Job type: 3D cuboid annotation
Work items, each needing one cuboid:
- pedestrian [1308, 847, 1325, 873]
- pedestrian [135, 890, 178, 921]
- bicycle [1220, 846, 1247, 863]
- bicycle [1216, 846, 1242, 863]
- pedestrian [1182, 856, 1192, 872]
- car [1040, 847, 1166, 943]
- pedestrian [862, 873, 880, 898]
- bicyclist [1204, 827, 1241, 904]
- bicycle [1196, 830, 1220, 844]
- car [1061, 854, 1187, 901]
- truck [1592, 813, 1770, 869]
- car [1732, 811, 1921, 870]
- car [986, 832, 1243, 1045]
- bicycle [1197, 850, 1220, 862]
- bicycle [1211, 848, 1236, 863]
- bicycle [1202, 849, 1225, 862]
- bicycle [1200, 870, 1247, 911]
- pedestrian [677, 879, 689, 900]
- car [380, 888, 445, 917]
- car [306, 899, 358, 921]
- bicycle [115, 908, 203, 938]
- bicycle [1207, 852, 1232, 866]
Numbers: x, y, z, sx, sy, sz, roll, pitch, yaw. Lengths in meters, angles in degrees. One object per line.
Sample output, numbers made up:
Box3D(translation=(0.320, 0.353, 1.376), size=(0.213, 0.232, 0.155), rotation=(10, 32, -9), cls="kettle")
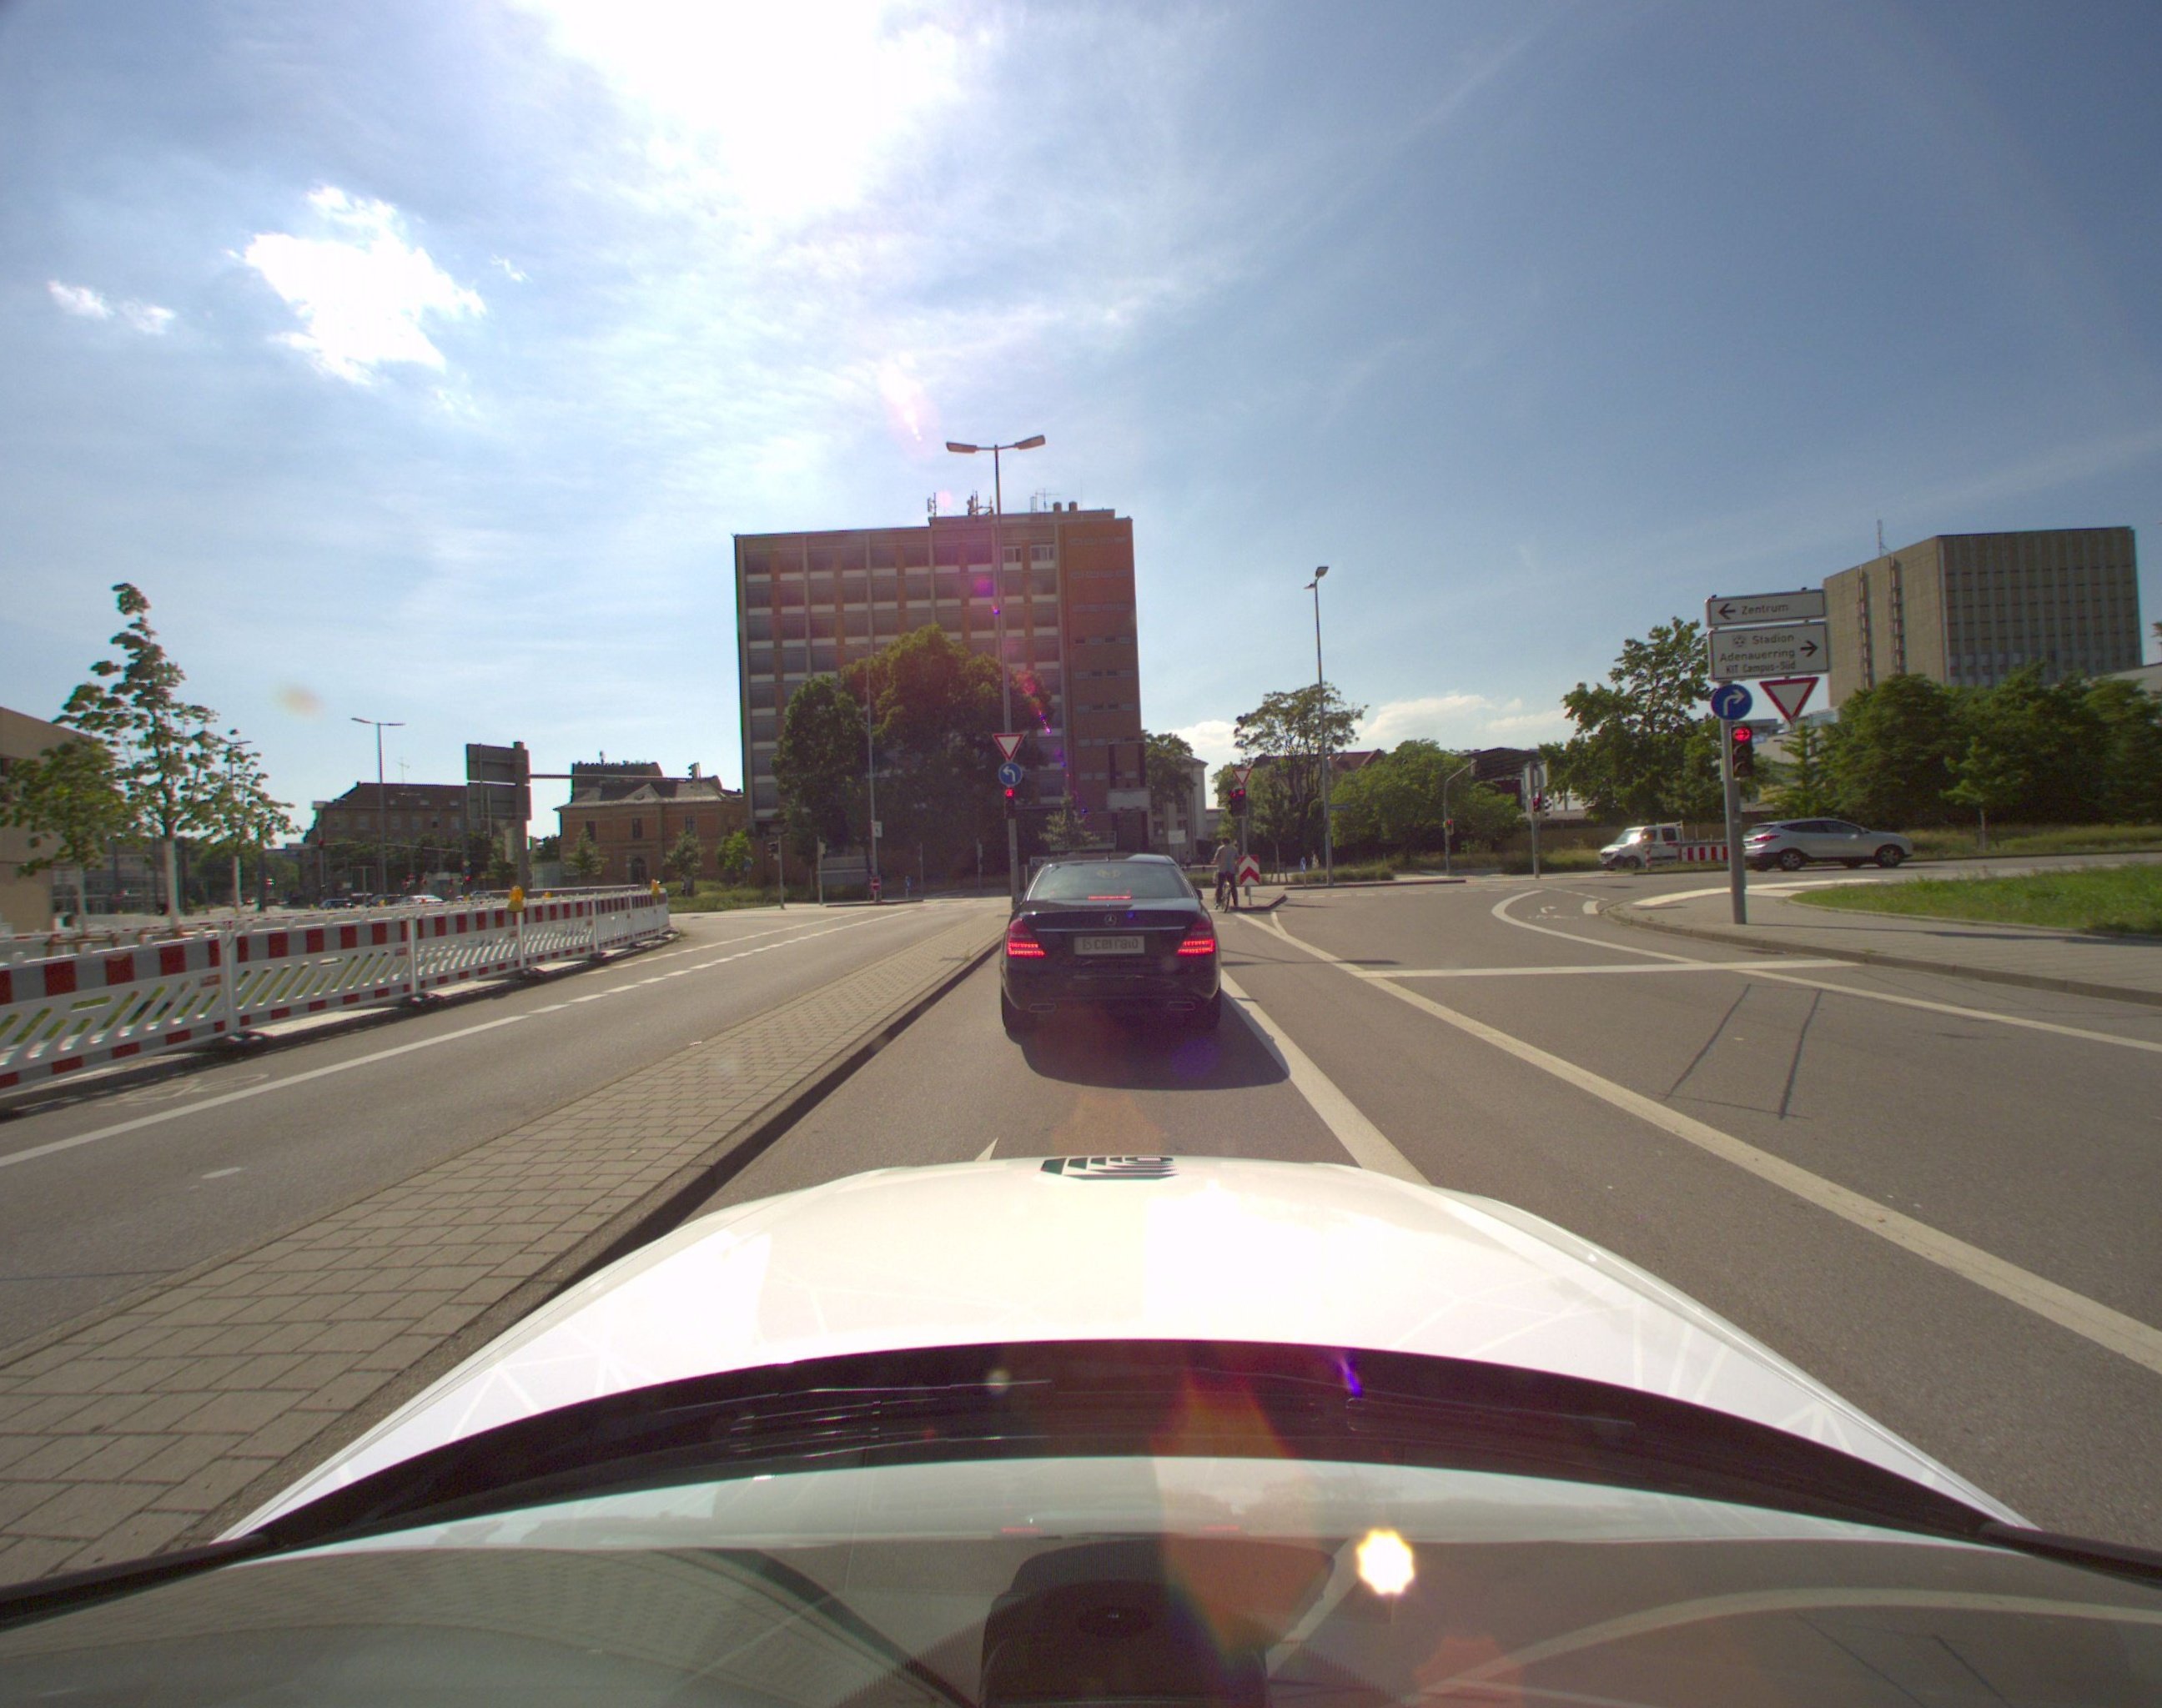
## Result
Box3D(translation=(14.767, 0.385, 50.997), size=(0.807, 1.579, 0.693), rotation=(-3, -1, 3), cls="pedestrian")
Box3D(translation=(-63.152, 3.483, 55.644), size=(1.508, 2.014, 1.662), rotation=(-1, -1, 29), cls="pedestrian")
Box3D(translation=(17.099, 0.047, 91.307), size=(2.813, 1.836, 0.842), rotation=(-3, 0, 1), cls="bicycle")
Box3D(translation=(17.031, 0.084, 93.608), size=(2.813, 1.744, 0.842), rotation=(-3, 0, 1), cls="bicycle")
Box3D(translation=(8.349, 0.788, 64.004), size=(0.788, 1.214, 0.759), rotation=(-1, -1, 8), cls="pedestrian")
Box3D(translation=(0.417, 0.672, 14.957), size=(1.986, 1.508, 4.001), rotation=(0, -1, 2), cls="car")
Box3D(translation=(-14.859, 2.247, 57.695), size=(0.790, 1.725, 0.878), rotation=(-3, -1, 24), cls="pedestrian")
Box3D(translation=(3.581, 0.289, 20.643), size=(0.684, 1.878, 0.858), rotation=(-1, -1, -5), cls="bicyclist")
Box3D(translation=(15.994, -2.102, 102.391), size=(2.813, 1.559, 0.842), rotation=(-3, 0, 1), cls="bicycle")
Box3D(translation=(1.534, 0.818, 28.726), size=(4.127, 1.420, 1.591), rotation=(-3, 0, 16), cls="car")
Box3D(translation=(29.960, -0.637, 40.878), size=(6.997, 2.355, 2.415), rotation=(-3, 0, 2), cls="truck")
Box3D(translation=(24.095, -0.426, 26.484), size=(4.174, 1.618, 1.718), rotation=(-3, 0, 13), cls="car")
Box3D(translation=(0.292, 0.636, 8.299), size=(1.852, 1.530, 4.714), rotation=(-1, -1, 1), cls="car")
Box3D(translation=(16.638, 0.243, 106.248), size=(2.812, 1.480, 0.842), rotation=(-3, 0, 2), cls="bicycle")
Box3D(translation=(16.798, 0.179, 95.988), size=(2.813, 1.659, 0.842), rotation=(-3, 1, 1), cls="bicycle")
Box3D(translation=(16.961, 0.240, 104.340), size=(2.813, 1.500, 0.842), rotation=(-3, 0, 1), cls="bicycle")
Box3D(translation=(3.590, 0.900, 20.667), size=(0.691, 0.946, 1.955), rotation=(0, -1, -4), cls="bicycle")
Box3D(translation=(-32.155, 2.892, 65.808), size=(0.642, 1.661, 0.654), rotation=(-1, -1, 28), cls="pedestrian")
Box3D(translation=(-48.077, 3.480, 58.544), size=(3.951, 1.816, 2.011), rotation=(-3, -1, 24), cls="car")
Box3D(translation=(-55.566, 4.163, 60.416), size=(3.948, 1.510, 1.811), rotation=(-3, -1, 32), cls="car")
Box3D(translation=(-63.051, 4.675, 55.750), size=(1.479, 1.779, 3.769), rotation=(-1, -1, 30), cls="bicycle")
Box3D(translation=(16.739, 0.558, 98.242), size=(2.813, 1.537, 0.842), rotation=(-3, 0, 1), cls="bicycle")
